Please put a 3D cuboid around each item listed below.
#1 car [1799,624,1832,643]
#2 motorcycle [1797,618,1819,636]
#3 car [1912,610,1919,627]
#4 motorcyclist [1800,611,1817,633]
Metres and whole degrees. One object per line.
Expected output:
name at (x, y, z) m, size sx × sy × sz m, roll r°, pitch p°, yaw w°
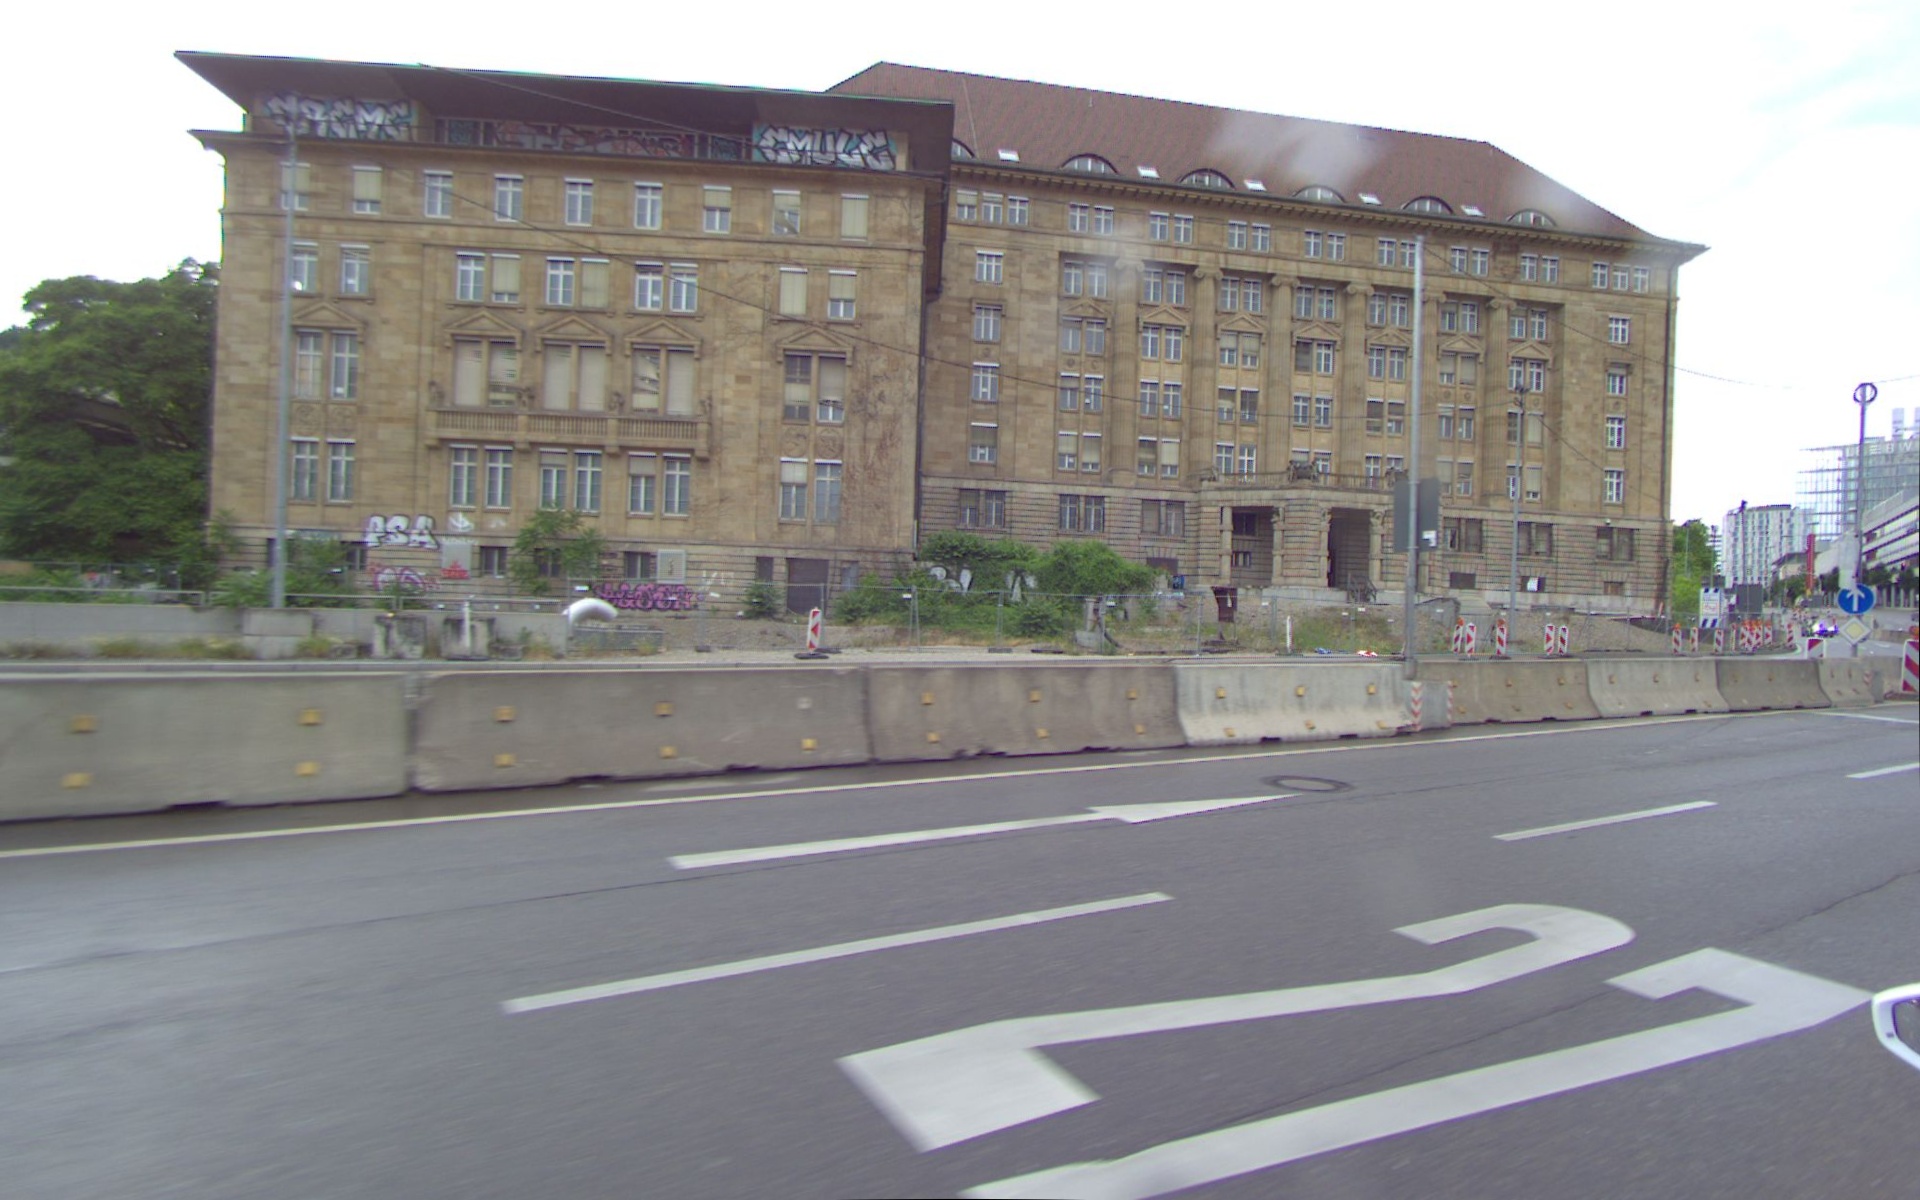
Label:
car at (73.432, 2.867, 86.239) m, size 1.579 × 1.369 × 3.745 m, roll 3°, pitch -2°, yaw 33°
motorcycle at (58.456, 1.843, 69.231) m, size 0.857 × 1.164 × 2.148 m, roll 2°, pitch 0°, yaw 33°
car at (110.018, 2.153, 114.528) m, size 1.973 × 1.828 × 4.239 m, roll 2°, pitch 0°, yaw 44°
motorcyclist at (58.491, 1.540, 69.225) m, size 0.787 × 1.470 × 0.823 m, roll 2°, pitch 0°, yaw 33°
